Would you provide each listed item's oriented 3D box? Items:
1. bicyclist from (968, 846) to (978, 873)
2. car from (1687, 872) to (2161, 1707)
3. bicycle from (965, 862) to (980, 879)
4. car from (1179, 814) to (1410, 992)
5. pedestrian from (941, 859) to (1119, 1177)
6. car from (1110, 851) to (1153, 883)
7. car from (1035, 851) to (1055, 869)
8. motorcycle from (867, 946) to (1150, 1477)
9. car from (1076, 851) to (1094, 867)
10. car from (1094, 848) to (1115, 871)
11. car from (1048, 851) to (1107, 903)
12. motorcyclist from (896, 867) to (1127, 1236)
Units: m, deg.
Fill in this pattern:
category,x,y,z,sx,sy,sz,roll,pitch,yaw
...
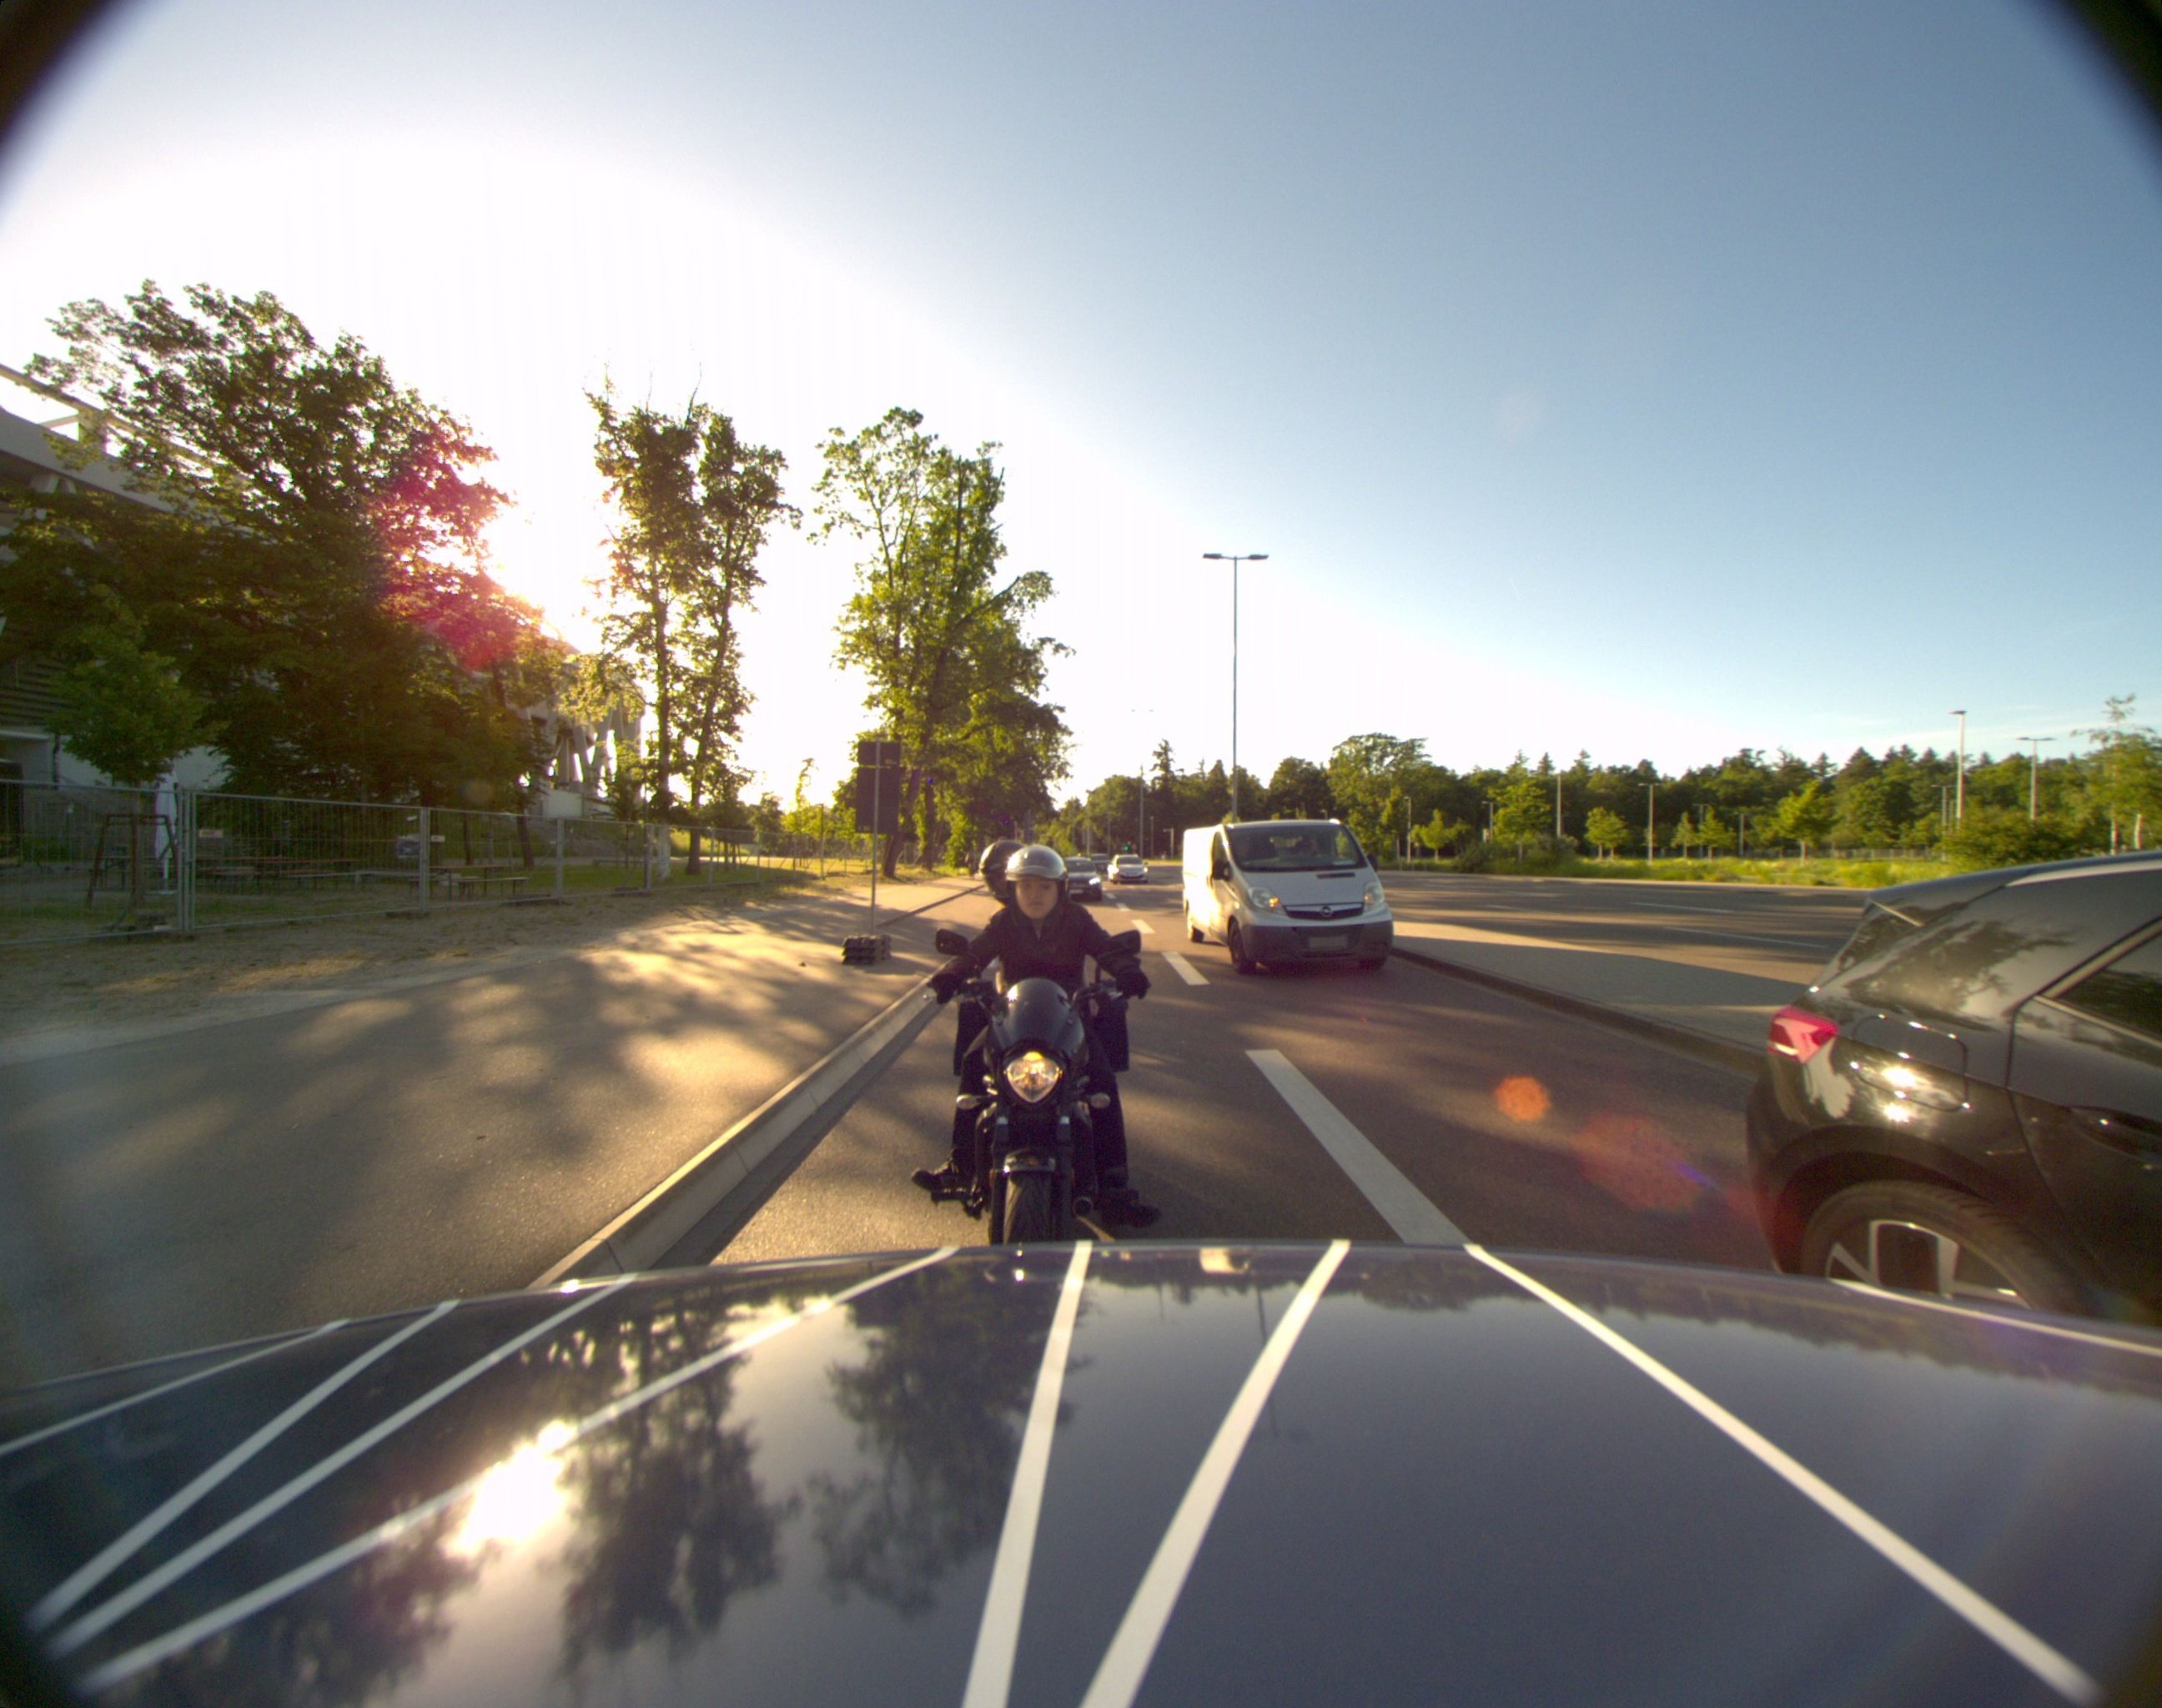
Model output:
category,x,y,z,sx,sy,sz,roll,pitch,yaw
bicyclist,-5.772,0.292,40.784,0.451,1.412,0.575,0,1,0
car,2.731,0.854,0.220,1.883,1.528,3.999,-2,1,0
bicycle,-5.777,0.868,40.597,0.481,0.854,1.910,0,0,1
car,2.745,0.565,11.126,1.883,1.951,5.048,-2,0,0
pedestrian,-0.221,0.737,3.635,0.739,1.387,0.500,-2,1,1
car,2.588,0.643,40.212,1.883,1.514,5.048,-2,0,0
car,-3.863,0.599,81.978,1.774,1.849,3.999,-2,1,1
motorcycle,-0.175,1.128,3.395,0.717,1.058,2.721,-2,0,1
car,0.402,0.555,82.629,1.883,1.629,5.048,-2,0,0
car,1.884,0.420,61.777,1.638,1.674,4.000,-2,1,1
car,-0.123,0.754,27.338,1.883,1.629,5.048,-2,0,0
motorcyclist,-0.259,0.757,3.121,0.822,1.367,0.476,-2,1,1
